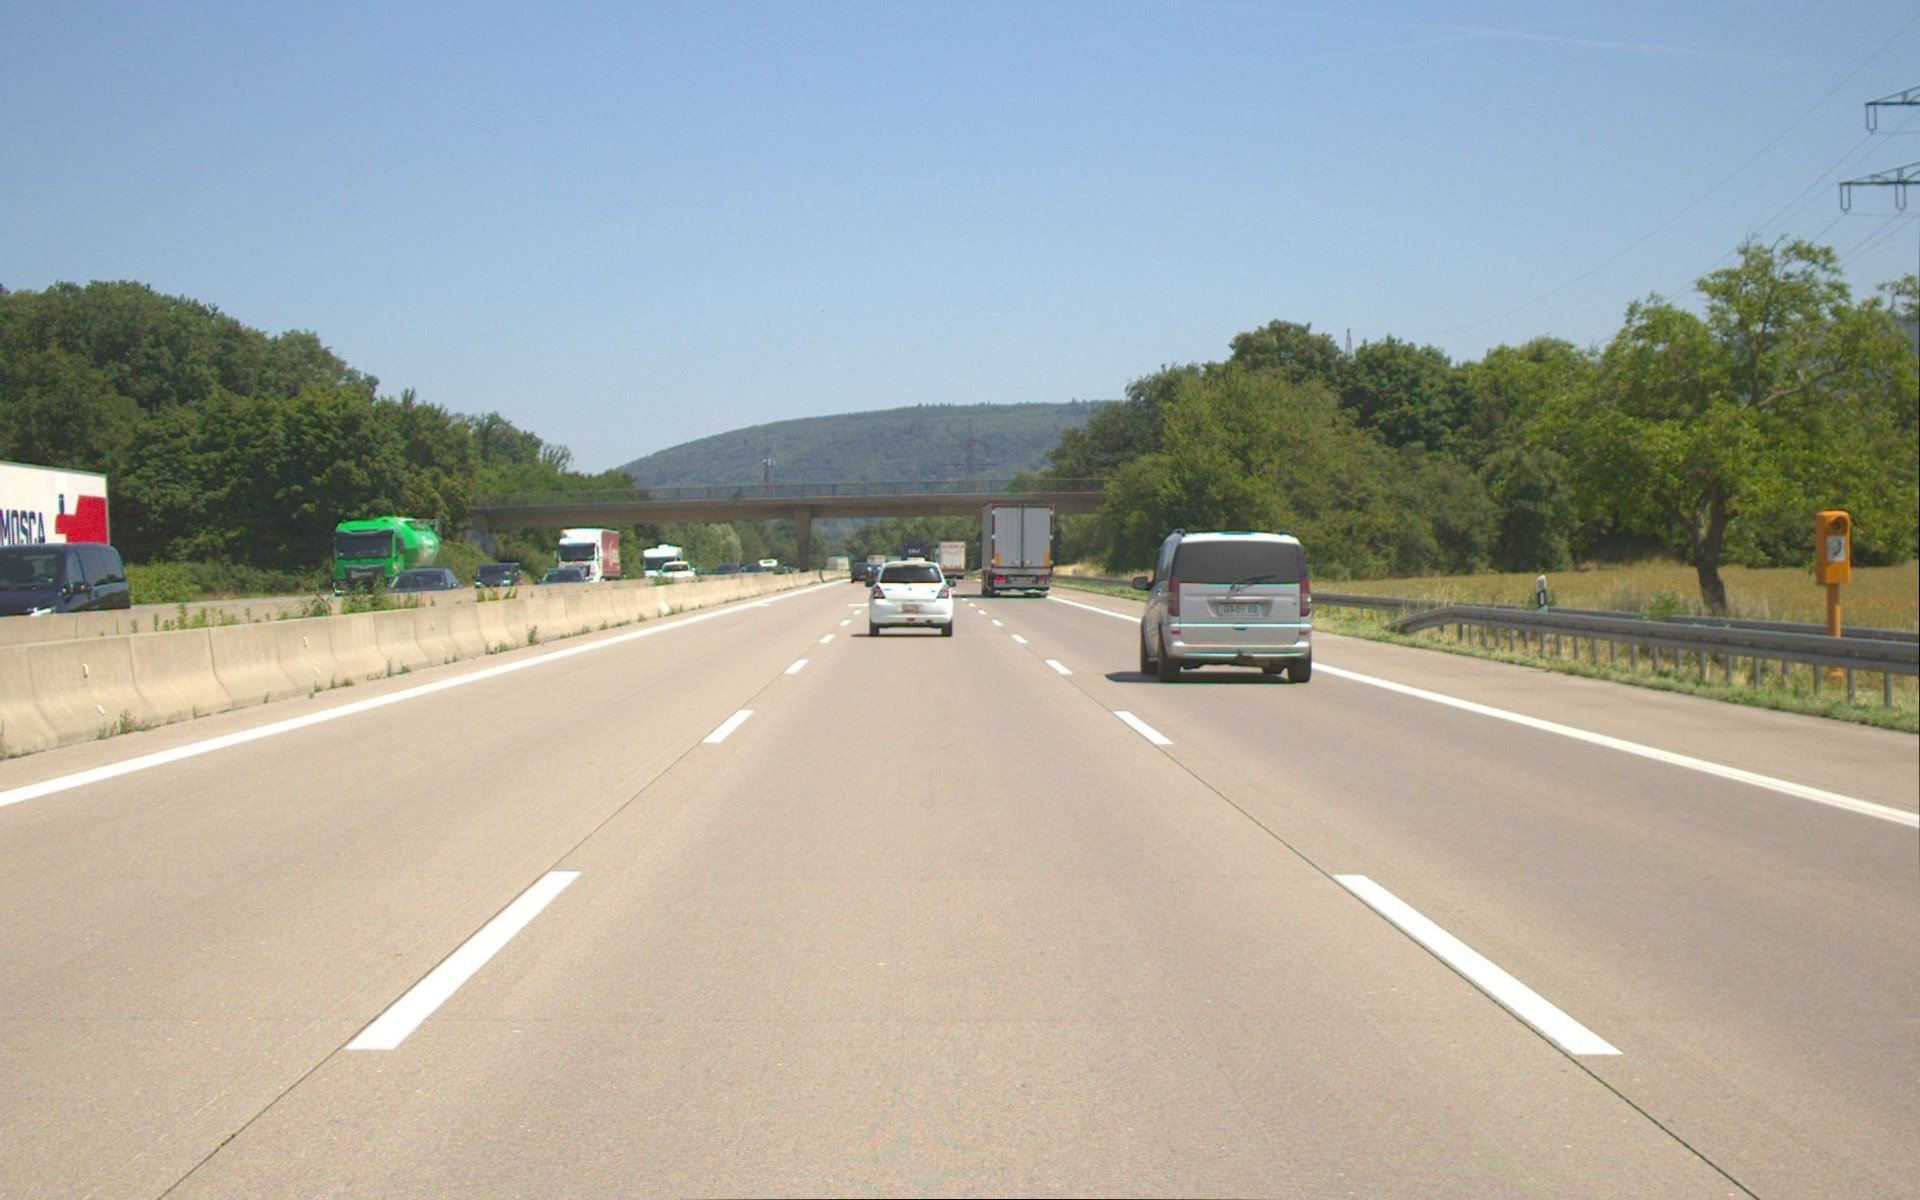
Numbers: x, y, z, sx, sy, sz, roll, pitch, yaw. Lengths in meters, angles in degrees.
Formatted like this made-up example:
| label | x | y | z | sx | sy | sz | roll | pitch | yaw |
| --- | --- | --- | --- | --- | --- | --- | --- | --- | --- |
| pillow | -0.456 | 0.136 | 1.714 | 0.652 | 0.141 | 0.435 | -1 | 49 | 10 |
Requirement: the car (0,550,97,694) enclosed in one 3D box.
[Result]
| label | x | y | z | sx | sy | sz | roll | pitch | yaw |
| --- | --- | --- | --- | --- | --- | --- | --- | --- | --- |
| car | -13.002 | 0.241 | 45.552 | 1.993 | 1.789 | 4.467 | 1 | 1 | 0 |

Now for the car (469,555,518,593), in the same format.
| label | x | y | z | sx | sy | sz | roll | pitch | yaw |
| --- | --- | --- | --- | --- | --- | --- | --- | --- | --- |
| car | -23.223 | -1.311 | 171.287 | 1.928 | 1.787 | 4.000 | 1 | 1 | -1 |

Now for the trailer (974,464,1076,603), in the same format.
| label | x | y | z | sx | sy | sz | roll | pitch | yaw |
| --- | --- | --- | --- | --- | --- | --- | --- | --- | --- |
| trailer | 2.749 | -2.887 | 150.174 | 3.720 | 5.791 | 12.163 | 1 | 1 | -2 |

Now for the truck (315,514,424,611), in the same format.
| label | x | y | z | sx | sy | sz | roll | pitch | yaw |
| --- | --- | --- | --- | --- | --- | --- | --- | --- | --- |
| truck | -23.087 | -1.494 | 134.776 | 3.049 | 3.622 | 7.978 | 1 | 1 | -1 |

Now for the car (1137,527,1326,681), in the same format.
| label | x | y | z | sx | sy | sz | roll | pitch | yaw |
| --- | --- | --- | --- | --- | --- | --- | --- | --- | --- |
| car | 3.421 | 0.015 | 44.051 | 1.993 | 1.842 | 4.000 | 1 | 1 | -1 |

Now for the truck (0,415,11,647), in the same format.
| label | x | y | z | sx | sy | sz | roll | pitch | yaw |
| --- | --- | --- | --- | --- | --- | --- | --- | --- | --- |
| truck | -21.132 | -1.379 | 67.691 | 3.082 | 4.745 | 6.498 | 1 | 1 | 0 |

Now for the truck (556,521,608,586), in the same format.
| label | x | y | z | sx | sy | sz | roll | pitch | yaw |
| --- | --- | --- | --- | --- | --- | --- | --- | --- | --- |
| truck | -23.064 | -2.865 | 210.107 | 2.556 | 3.835 | 6.791 | 1 | 1 | -1 |

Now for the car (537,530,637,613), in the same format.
| label | x | y | z | sx | sy | sz | roll | pitch | yaw |
| --- | --- | --- | --- | --- | --- | --- | --- | --- | --- |
| car | -8.795 | -0.695 | 81.389 | 1.993 | 1.842 | 4.001 | 2 | 1 | -2 |

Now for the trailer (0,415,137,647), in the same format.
| label | x | y | z | sx | sy | sz | roll | pitch | yaw |
| --- | --- | --- | --- | --- | --- | --- | --- | --- | --- |
| trailer | -21.171 | -1.511 | 74.927 | 3.082 | 4.745 | 14.374 | 1 | 1 | 0 |

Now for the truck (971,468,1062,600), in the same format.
| label | x | y | z | sx | sy | sz | roll | pitch | yaw |
| --- | --- | --- | --- | --- | --- | --- | --- | --- | --- |
| truck | 2.517 | -3.002 | 156.342 | 3.720 | 5.791 | 7.054 | 1 | 1 | -2 |

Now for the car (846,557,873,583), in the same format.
| label | x | y | z | sx | sy | sz | roll | pitch | yaw |
| --- | --- | --- | --- | --- | --- | --- | --- | --- | --- |
| car | -7.221 | -2.170 | 246.883 | 1.928 | 1.787 | 4.000 | 1 | 1 | -1 |

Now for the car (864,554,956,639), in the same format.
| label | x | y | z | sx | sy | sz | roll | pitch | yaw |
| --- | --- | --- | --- | --- | --- | --- | --- | --- | --- |
| car | -1.026 | -0.097 | 69.936 | 1.819 | 1.656 | 4.000 | 0 | 1 | -1 |

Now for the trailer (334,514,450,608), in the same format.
| label | x | y | z | sx | sy | sz | roll | pitch | yaw |
| --- | --- | --- | --- | --- | --- | --- | --- | --- | --- |
| trailer | -23.217 | -1.641 | 141.074 | 3.049 | 3.622 | 11.670 | 1 | 1 | -1 |
